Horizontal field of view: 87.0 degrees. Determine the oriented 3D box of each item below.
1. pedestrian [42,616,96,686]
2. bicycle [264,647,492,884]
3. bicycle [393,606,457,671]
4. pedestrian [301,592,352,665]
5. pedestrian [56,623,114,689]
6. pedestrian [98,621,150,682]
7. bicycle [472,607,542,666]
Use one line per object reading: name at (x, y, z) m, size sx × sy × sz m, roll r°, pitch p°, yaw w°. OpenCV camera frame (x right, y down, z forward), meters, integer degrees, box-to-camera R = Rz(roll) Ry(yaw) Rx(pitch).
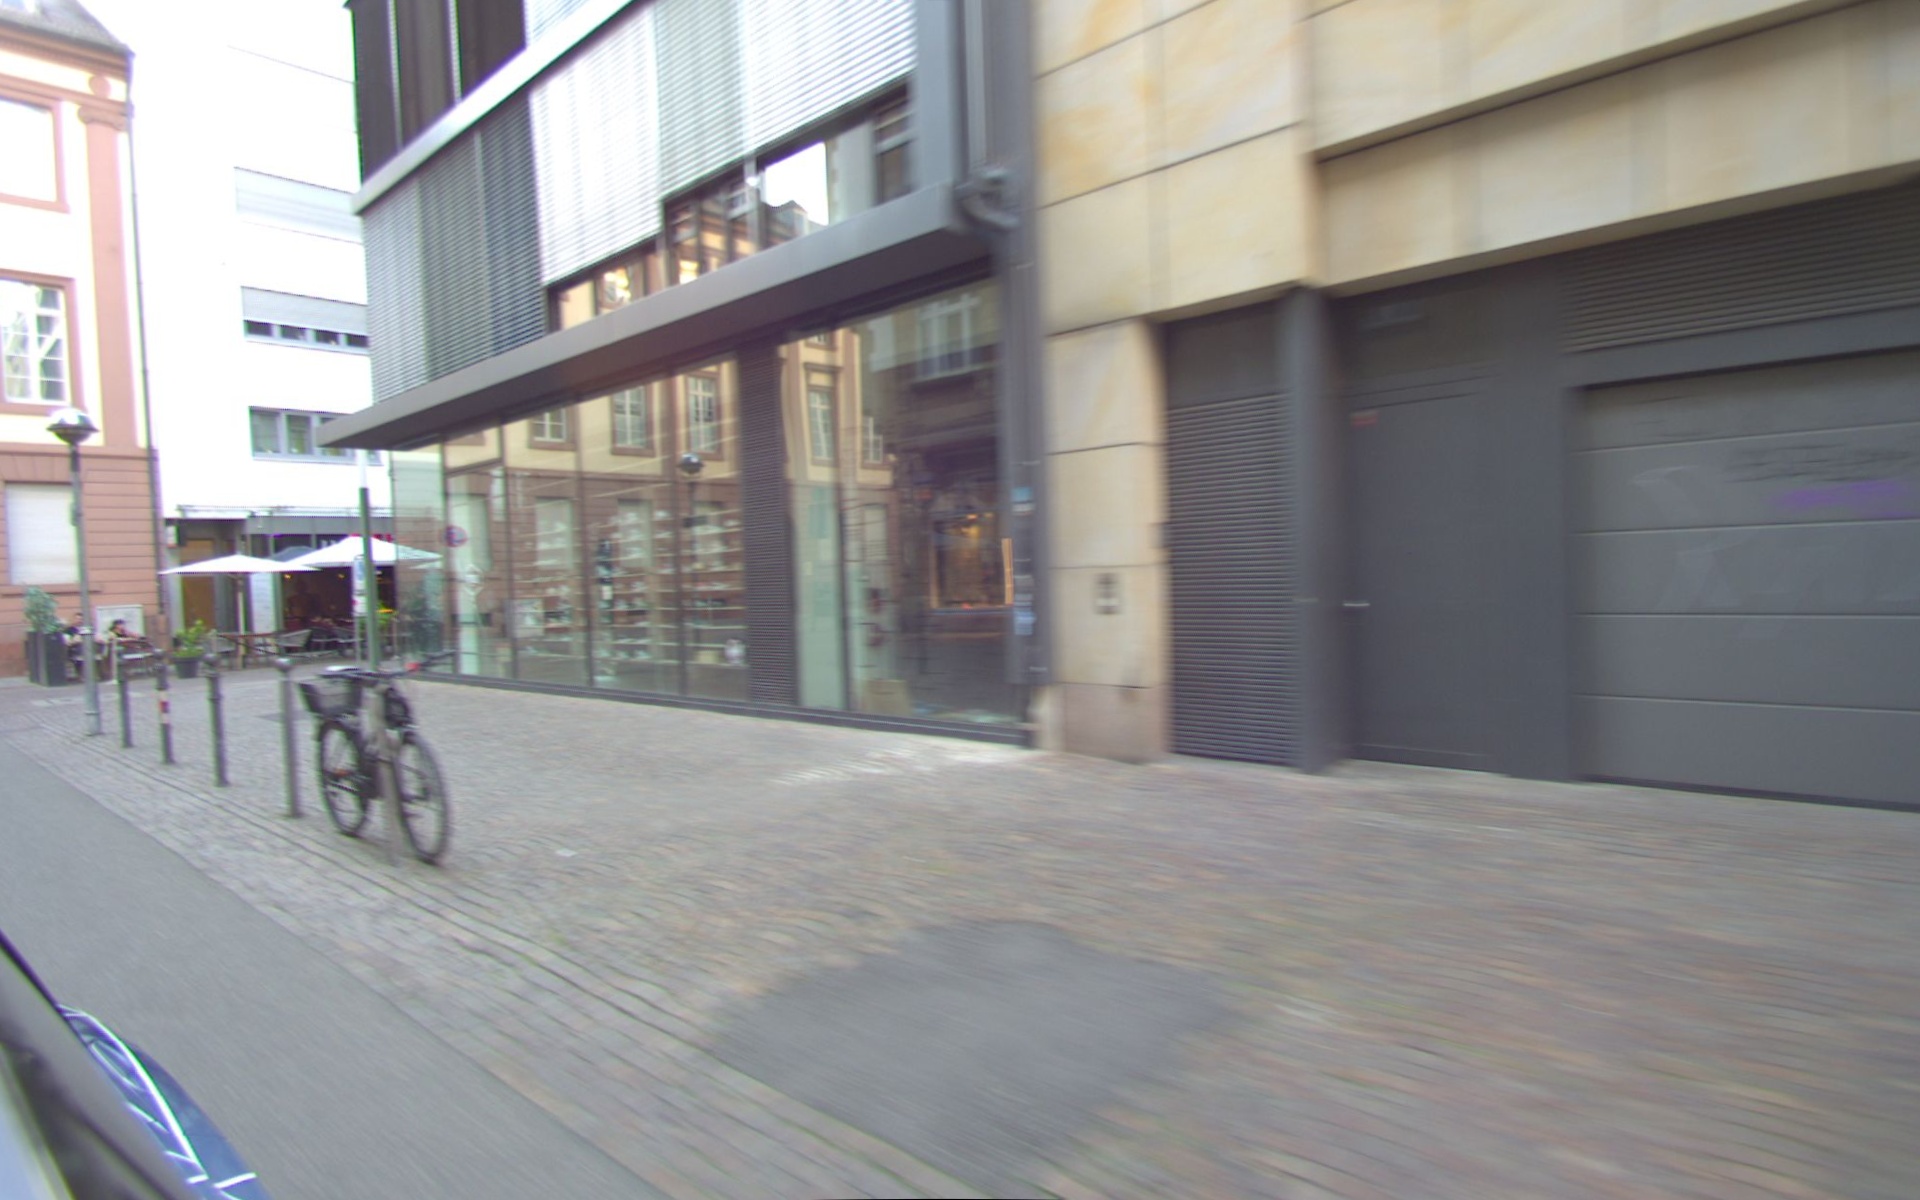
pedestrian at (-18.116, 1.017, 20.569) m, size 0.792 × 1.341 × 0.665 m, roll 0°, pitch 3°, yaw 40°
bicycle at (-3.412, 0.870, 5.849) m, size 1.928 × 1.141 × 0.406 m, roll -1°, pitch 2°, yaw 38°
bicycle at (-10.258, 0.750, 19.384) m, size 1.702 × 1.145 × 0.461 m, roll -4°, pitch 0°, yaw 41°
pedestrian at (-15.000, 0.660, 23.965) m, size 0.791 × 1.661 × 0.717 m, roll -2°, pitch 1°, yaw 36°
pedestrian at (-17.046, 1.073, 19.720) m, size 0.791 × 1.192 × 0.665 m, roll 0°, pitch 3°, yaw 36°
pedestrian at (-17.333, 1.054, 20.978) m, size 0.792 × 1.192 × 0.665 m, roll 0°, pitch 3°, yaw 40°
bicycle at (-9.415, 0.774, 20.989) m, size 2.015 × 1.129 × 0.461 m, roll -4°, pitch 0°, yaw 41°
